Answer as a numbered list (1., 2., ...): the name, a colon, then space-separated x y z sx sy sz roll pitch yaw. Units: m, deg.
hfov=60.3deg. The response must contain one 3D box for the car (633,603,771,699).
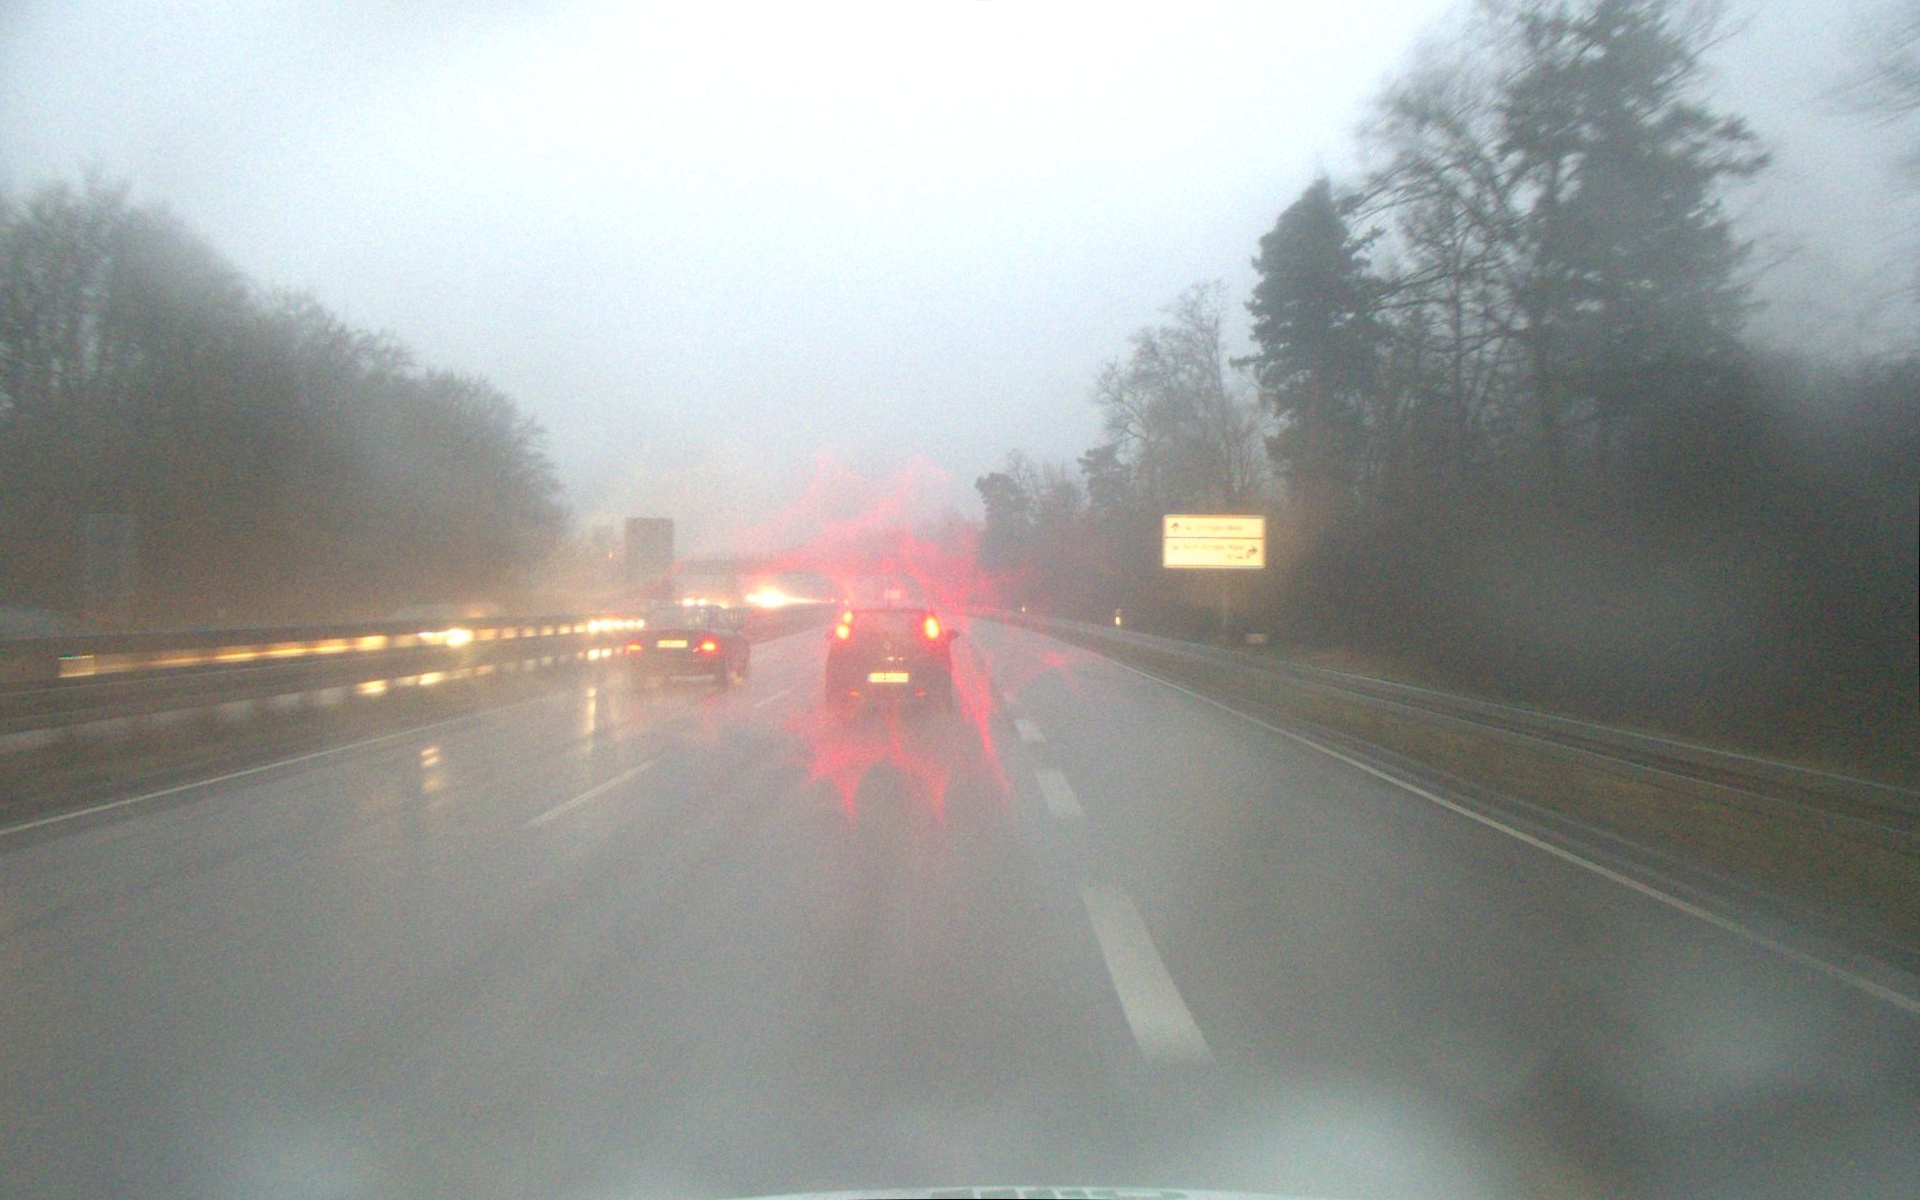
1. car: -4.616 0.872 30.198 1.739 1.561 4.702 -1 0 0

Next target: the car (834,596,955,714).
1. car: -0.872 0.709 23.044 1.496 1.440 3.478 3 0 -1

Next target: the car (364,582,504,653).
1. car: -14.570 0.469 46.139 1.952 1.784 4.902 3 0 4

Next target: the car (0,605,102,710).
1. car: -14.469 0.816 23.861 1.857 1.383 4.208 3 0 1
